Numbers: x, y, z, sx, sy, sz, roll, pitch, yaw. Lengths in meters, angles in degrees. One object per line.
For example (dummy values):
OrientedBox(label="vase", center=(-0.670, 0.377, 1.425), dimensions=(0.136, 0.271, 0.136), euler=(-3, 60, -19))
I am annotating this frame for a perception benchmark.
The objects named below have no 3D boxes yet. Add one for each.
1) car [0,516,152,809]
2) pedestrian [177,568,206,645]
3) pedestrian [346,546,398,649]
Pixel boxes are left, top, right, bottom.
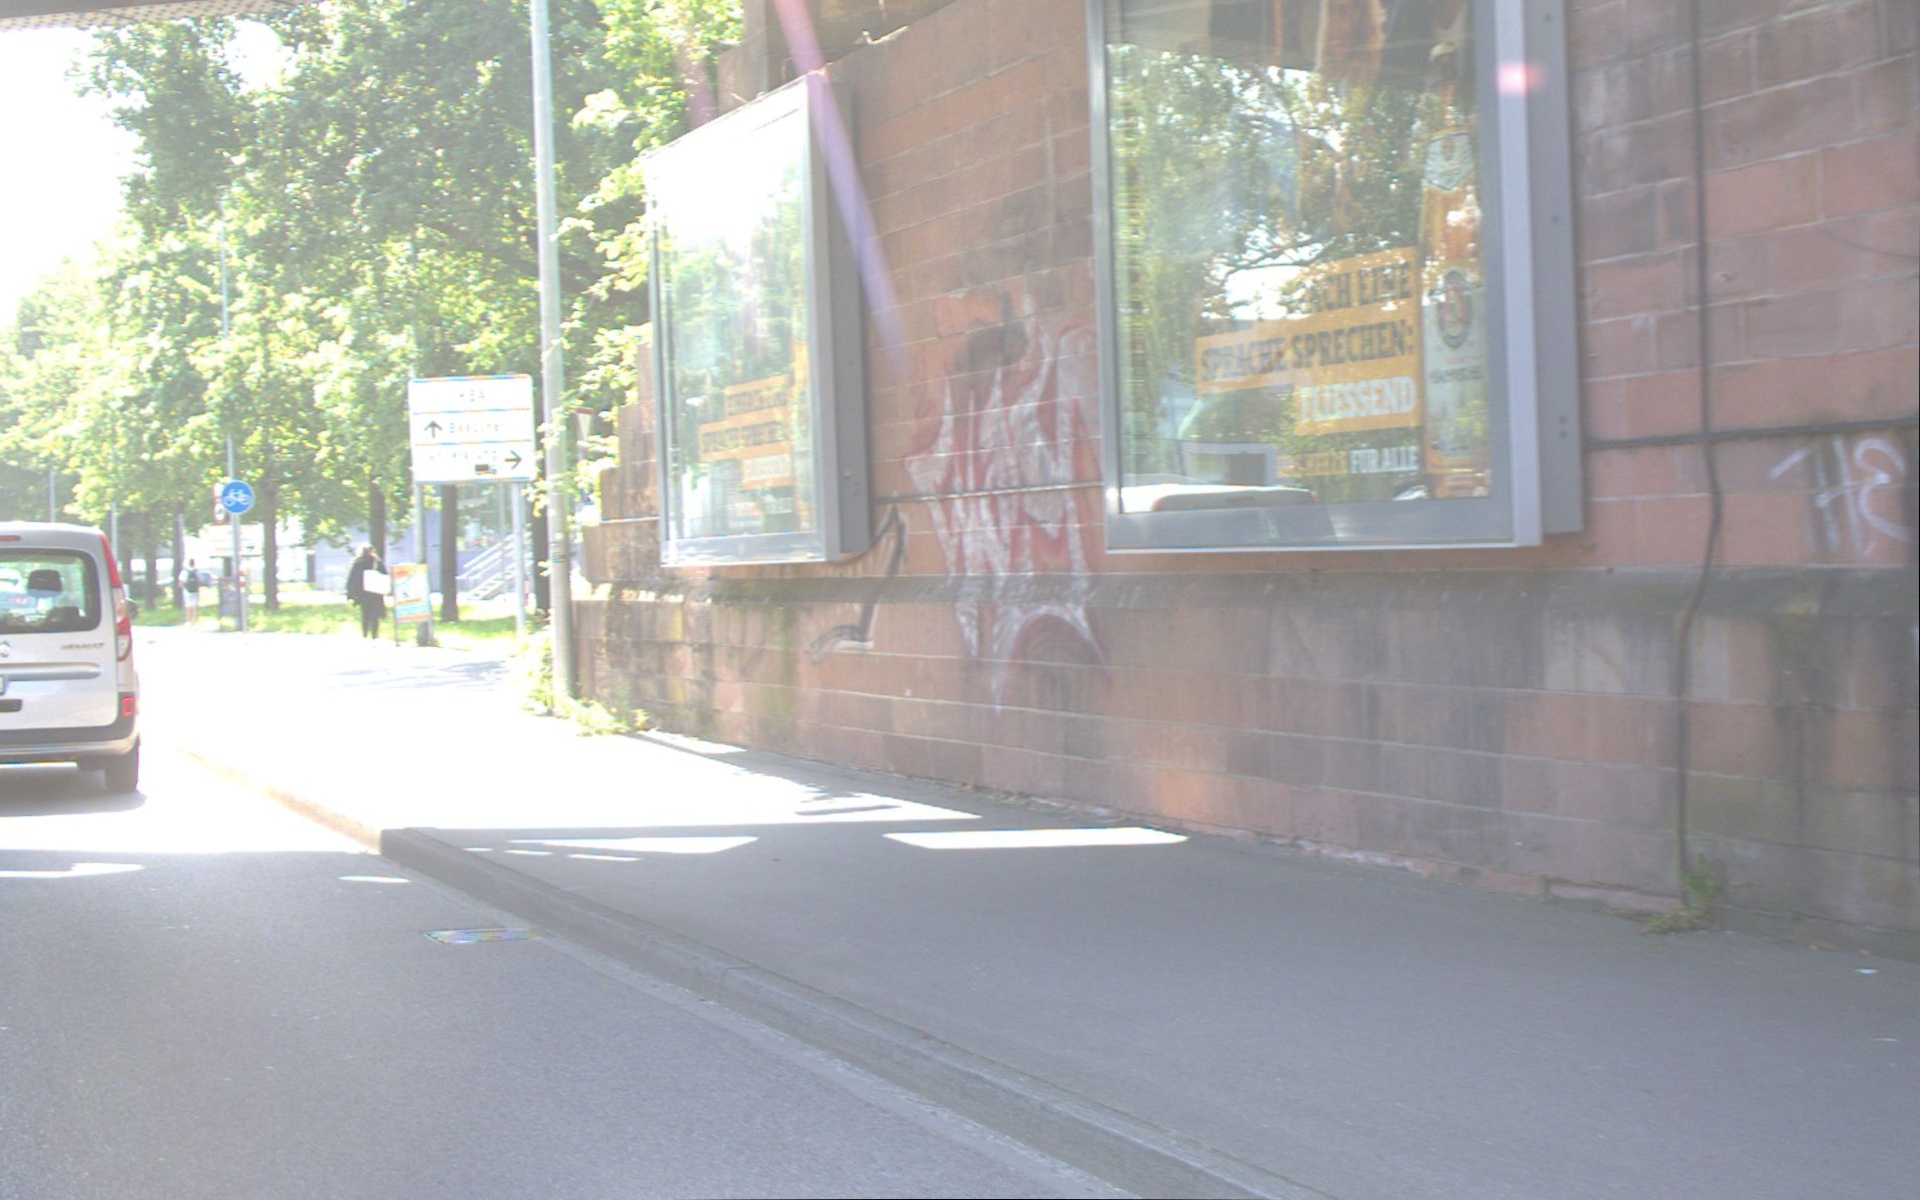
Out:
OrientedBox(label="car", center=(-6.757, 0.406, 23.765), dimensions=(1.905, 1.822, 4.181), euler=(-2, 1, -18))
OrientedBox(label="pedestrian", center=(-18.694, 0.149, 83.633), dimensions=(0.535, 1.835, 0.728), euler=(-2, 1, -18))
OrientedBox(label="pedestrian", center=(-9.268, -0.041, 54.178), dimensions=(0.647, 1.598, 0.847), euler=(-2, 1, -17))
